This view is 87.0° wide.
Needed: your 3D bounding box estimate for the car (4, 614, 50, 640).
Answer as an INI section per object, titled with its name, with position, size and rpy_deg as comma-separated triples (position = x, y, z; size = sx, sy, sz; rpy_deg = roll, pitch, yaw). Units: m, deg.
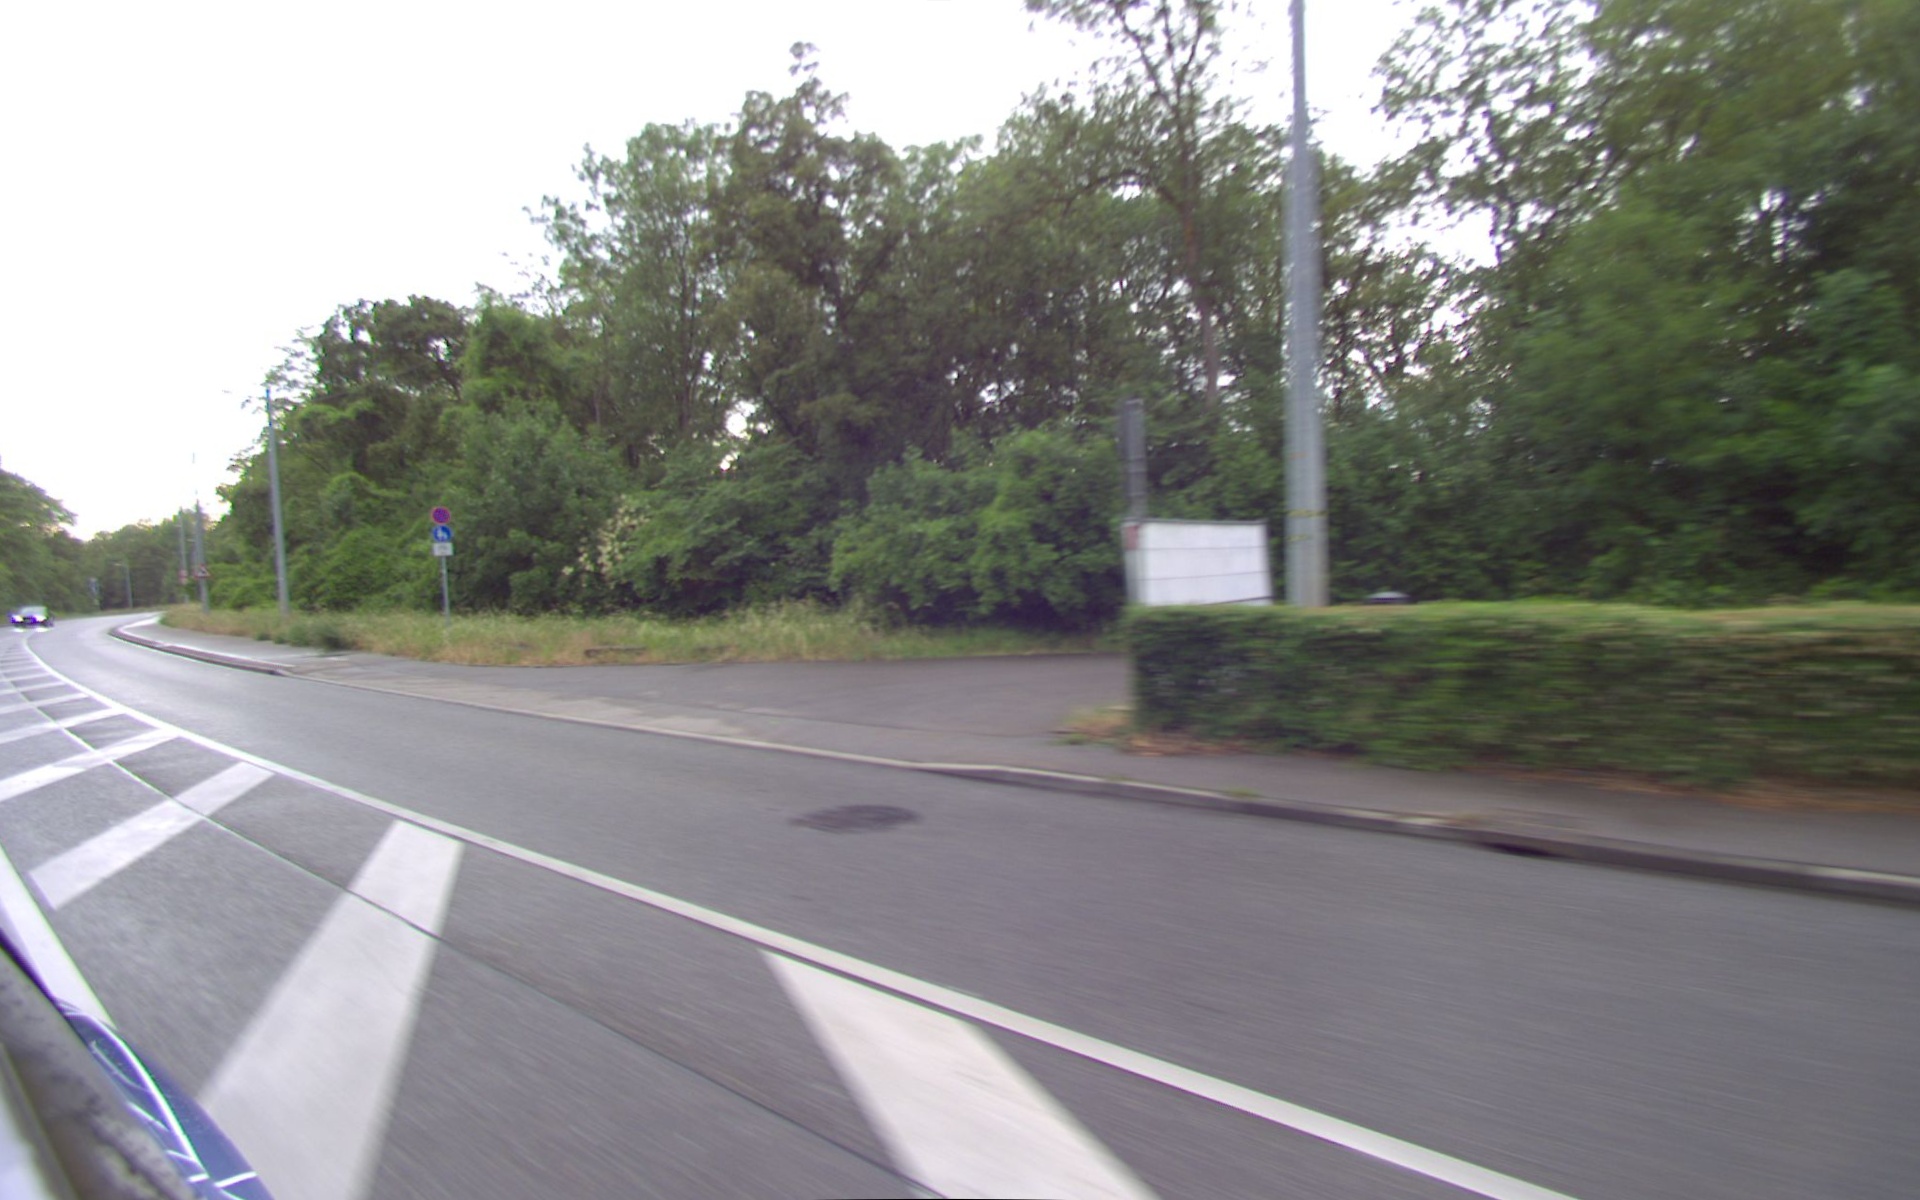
[car]
position = -66.037, 1.908, 71.678
size = 1.968, 1.696, 4.009
rpy_deg = -2, 1, -37
